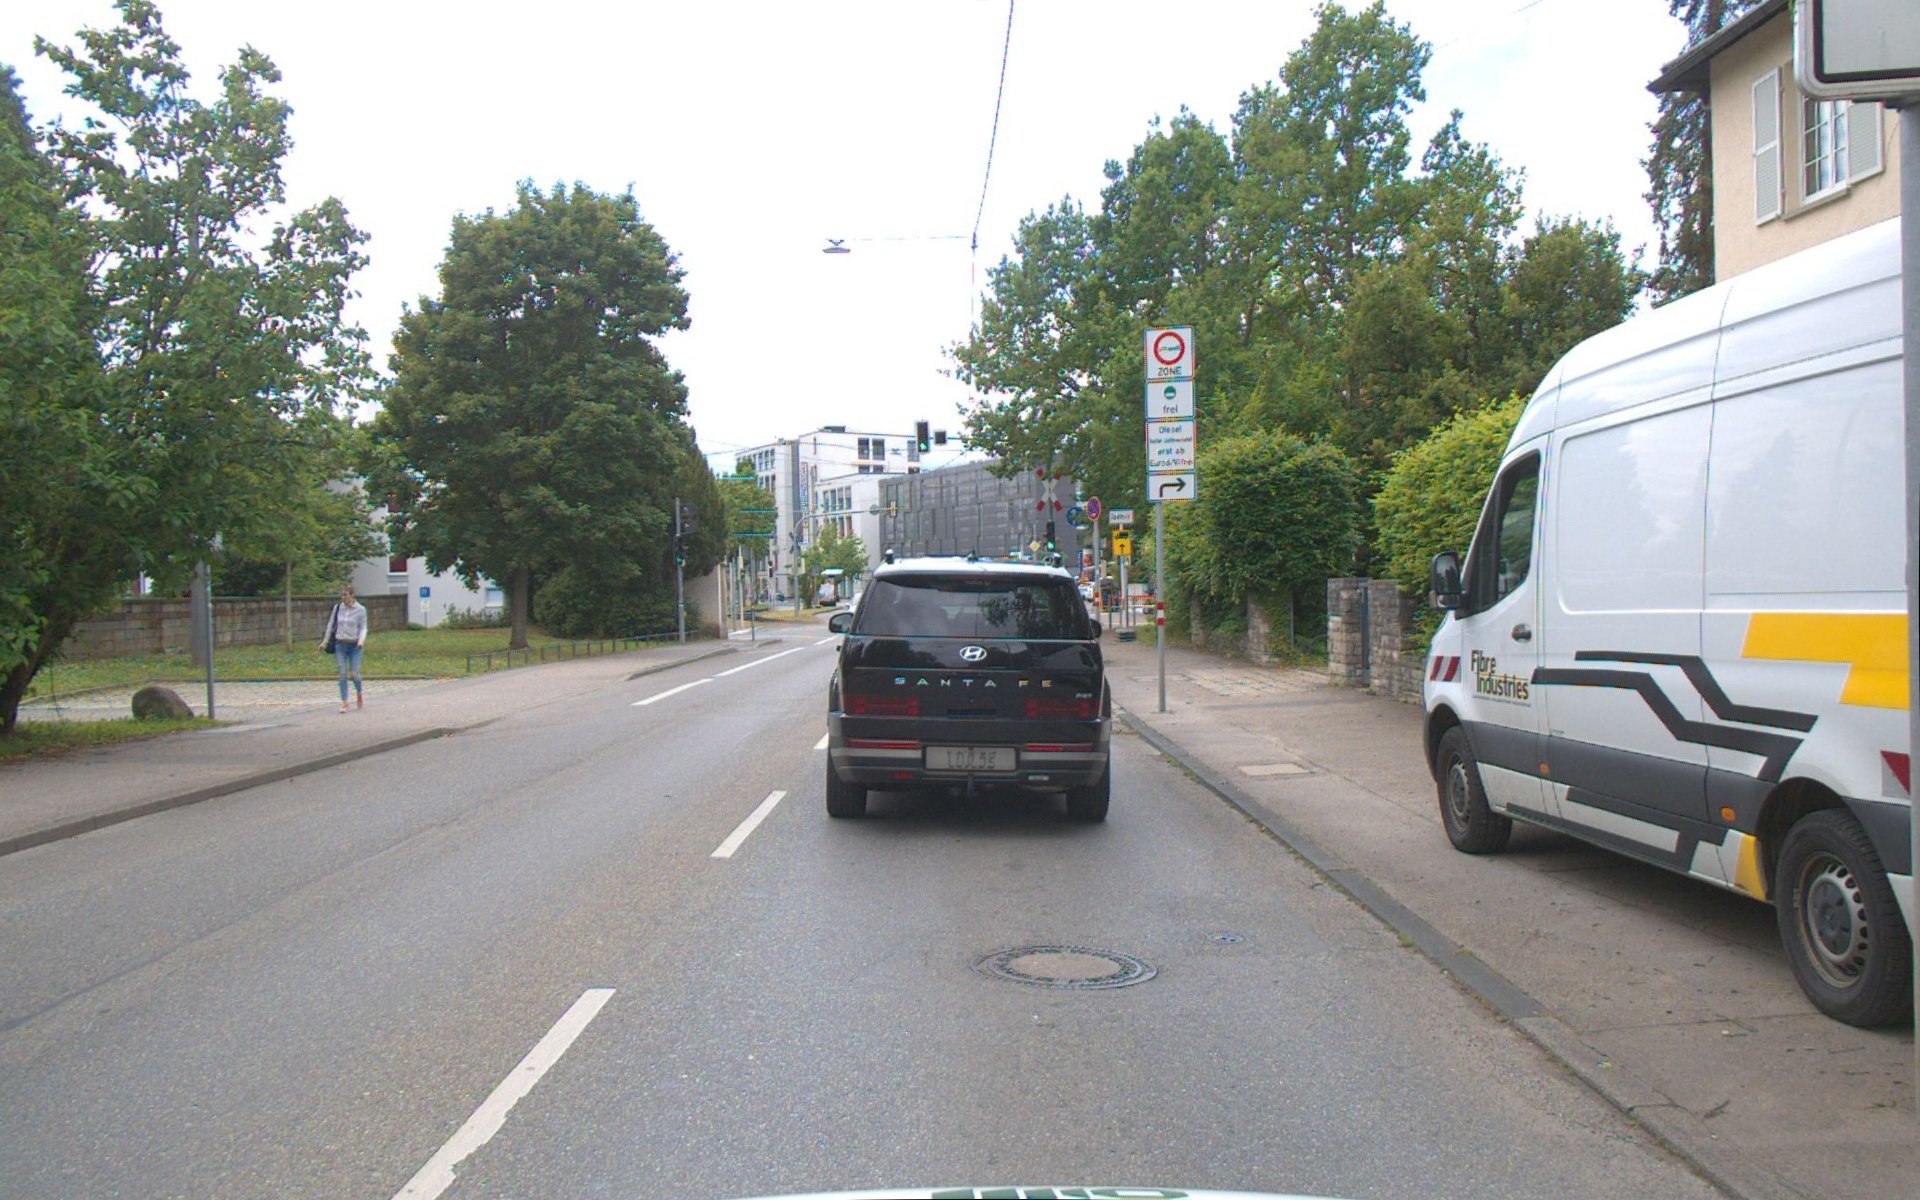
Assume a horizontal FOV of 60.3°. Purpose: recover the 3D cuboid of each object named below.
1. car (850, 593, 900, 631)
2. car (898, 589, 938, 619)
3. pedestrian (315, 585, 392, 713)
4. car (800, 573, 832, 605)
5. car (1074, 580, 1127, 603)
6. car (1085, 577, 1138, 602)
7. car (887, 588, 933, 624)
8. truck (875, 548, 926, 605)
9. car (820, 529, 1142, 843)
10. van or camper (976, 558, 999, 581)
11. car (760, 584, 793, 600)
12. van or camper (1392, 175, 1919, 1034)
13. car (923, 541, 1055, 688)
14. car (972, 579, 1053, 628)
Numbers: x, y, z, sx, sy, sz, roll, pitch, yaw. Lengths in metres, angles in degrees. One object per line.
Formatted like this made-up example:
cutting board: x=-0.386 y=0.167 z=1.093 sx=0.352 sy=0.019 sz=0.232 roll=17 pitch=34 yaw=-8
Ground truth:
car: x=-3.532 y=0.475 z=68.306 sx=1.847 sy=1.445 sz=3.995 roll=-1 pitch=0 yaw=-6
car: x=-2.492 y=0.203 z=96.546 sx=1.848 sy=1.667 sz=3.891 roll=-1 pitch=0 yaw=-8
pedestrian: x=-8.598 y=0.684 z=23.476 sx=0.751 sy=1.779 sz=0.904 roll=0 pitch=0 yaw=-1
car: x=-10.904 y=-0.832 z=125.290 sx=2.288 sy=2.356 sz=4.952 roll=-1 pitch=0 yaw=-6
car: x=10.371 y=-0.612 z=122.393 sx=3.575 sy=1.611 sz=1.748 roll=-2 pitch=0 yaw=-10
car: x=10.566 y=-0.754 z=115.708 sx=3.613 sy=1.611 sz=1.688 roll=-1 pitch=0 yaw=3
car: x=-2.524 y=0.279 z=82.568 sx=1.848 sy=1.667 sz=3.891 roll=-1 pitch=0 yaw=-8
truck: x=-4.426 y=-1.700 z=120.660 sx=3.047 sy=3.926 sz=9.609 roll=-1 pitch=0 yaw=-6
car: x=0.125 y=0.505 z=11.800 sx=1.858 sy=1.807 sz=3.994 roll=2 pitch=0 yaw=0
van or camper: x=2.538 y=-2.808 z=153.786 sx=1.760 sy=2.033 sz=3.821 roll=2 pitch=0 yaw=-3
car: x=-21.796 y=-0.965 z=196.419 sx=1.974 sy=1.870 sz=4.546 roll=-2 pitch=0 yaw=-33
van or camper: x=3.909 y=-0.021 z=6.445 sx=2.294 sy=2.538 sz=6.599 roll=-4 pitch=-1 yaw=-3
car: x=0.423 y=0.210 z=25.969 sx=1.858 sy=2.077 sz=3.994 roll=2 pitch=0 yaw=0
car: x=1.974 y=0.107 z=61.184 sx=1.828 sy=1.689 sz=4.297 roll=-1 pitch=0 yaw=18
